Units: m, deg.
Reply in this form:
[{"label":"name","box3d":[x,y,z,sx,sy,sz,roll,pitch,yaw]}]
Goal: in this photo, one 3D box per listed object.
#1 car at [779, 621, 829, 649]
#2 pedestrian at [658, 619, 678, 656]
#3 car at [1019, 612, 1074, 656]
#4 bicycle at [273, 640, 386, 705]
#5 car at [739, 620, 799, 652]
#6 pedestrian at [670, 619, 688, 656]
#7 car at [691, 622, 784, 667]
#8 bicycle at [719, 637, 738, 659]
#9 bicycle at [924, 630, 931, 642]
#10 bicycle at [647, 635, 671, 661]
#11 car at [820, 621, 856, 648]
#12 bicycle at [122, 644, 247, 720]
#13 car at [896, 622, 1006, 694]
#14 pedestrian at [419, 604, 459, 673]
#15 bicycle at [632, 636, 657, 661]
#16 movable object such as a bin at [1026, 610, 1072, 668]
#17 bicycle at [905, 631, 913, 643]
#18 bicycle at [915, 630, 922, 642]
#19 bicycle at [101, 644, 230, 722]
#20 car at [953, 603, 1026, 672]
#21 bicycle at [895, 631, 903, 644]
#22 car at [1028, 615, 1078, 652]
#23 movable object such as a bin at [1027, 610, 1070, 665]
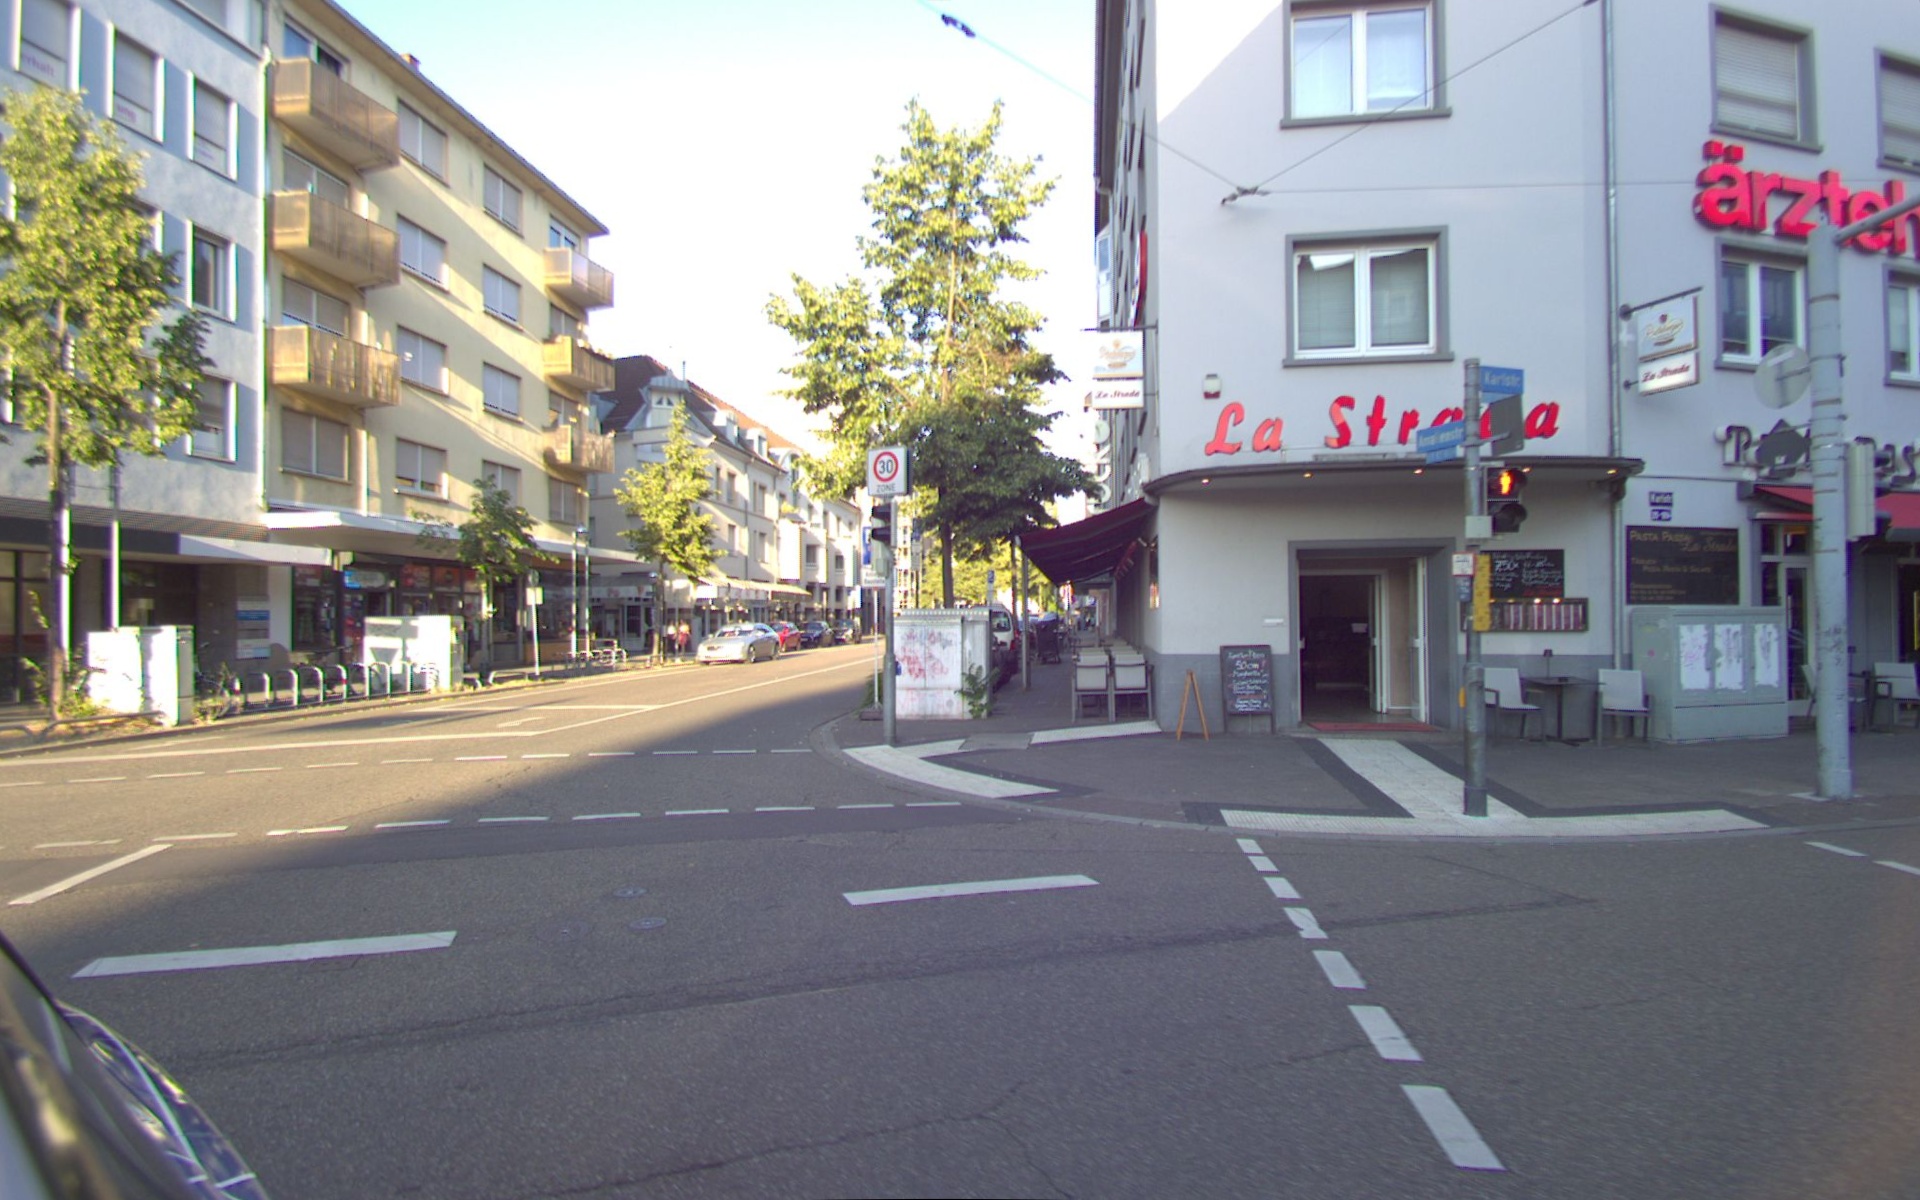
[{"label":"car","box3d":[-8.189,1.828,53.417,1.707,1.432,3.741,0,-1,6]},{"label":"pedestrian","box3d":[-12.311,1.590,42.678,0.536,1.542,0.648,-2,-2,12]},{"label":"car","box3d":[3.289,1.251,37.833,1.898,1.522,4.629,0,-1,6]},{"label":"bicycle","box3d":[-12.366,1.413,19.865,1.890,1.213,0.470,-1,-2,-3]},{"label":"car","box3d":[-8.902,1.677,47.542,1.707,1.432,4.024,0,-1,6]},{"label":"pedestrian","box3d":[-11.739,1.556,42.280,0.536,1.542,0.552,-2,-2,12]},{"label":"car","box3d":[-7.685,1.507,35.392,1.784,1.388,4.543,-3,-2,6]},{"label":"bicycle","box3d":[-10.436,2.157,45.618,0.387,0.963,1.613,-1,-1,3]},{"label":"bicycle","box3d":[-2.679,2.980,83.941,0.463,0.965,1.917,-1,-1,2]},{"label":"bicycle","box3d":[-13.193,2.101,44.395,0.387,1.058,1.842,-1,-1,3]},{"label":"car","box3d":[-7.250,2.056,60.499,1.553,1.561,2.798,0,-1,6]},{"label":"bicycle","box3d":[-12.747,1.343,16.641,1.897,1.213,0.468,-1,-2,10]},{"label":"car","box3d":[-0.080,1.182,21.977,1.898,1.397,4.373,0,-1,6]},{"label":"pedestrian","box3d":[-14.251,1.059,27.699,0.702,1.821,0.649,-3,-2,7]},{"label":"bicycle","box3d":[-13.859,2.117,44.475,0.387,1.041,1.842,-1,-1,3]},{"label":"movable object such as a bin","box3d":[2.788,1.208,31.826,1.269,1.685,1.438,-4,-2,5]},{"label":"bicycle","box3d":[-4.228,3.057,83.862,0.463,0.965,1.917,-1,-1,2]},{"label":"bicycle","box3d":[-3.426,3.018,83.922,0.463,0.965,1.917,-1,-1,2]},{"label":"bicycle","box3d":[-12.660,1.320,16.131,1.897,1.213,0.468,-1,-2,10]},{"label":"car","box3d":[0.902,1.022,28.444,1.896,1.801,4.143,0,-1,4]},{"label":"bicycle","box3d":[-5.024,3.090,83.647,0.463,0.965,1.917,-1,-1,2]},{"label":"car","box3d":[4.100,1.435,43.788,1.976,1.522,5.101,0,-1,7]},{"label":"movable object such as a bin","box3d":[2.899,1.223,33.253,1.268,1.685,1.367,-4,-2,5]}]
